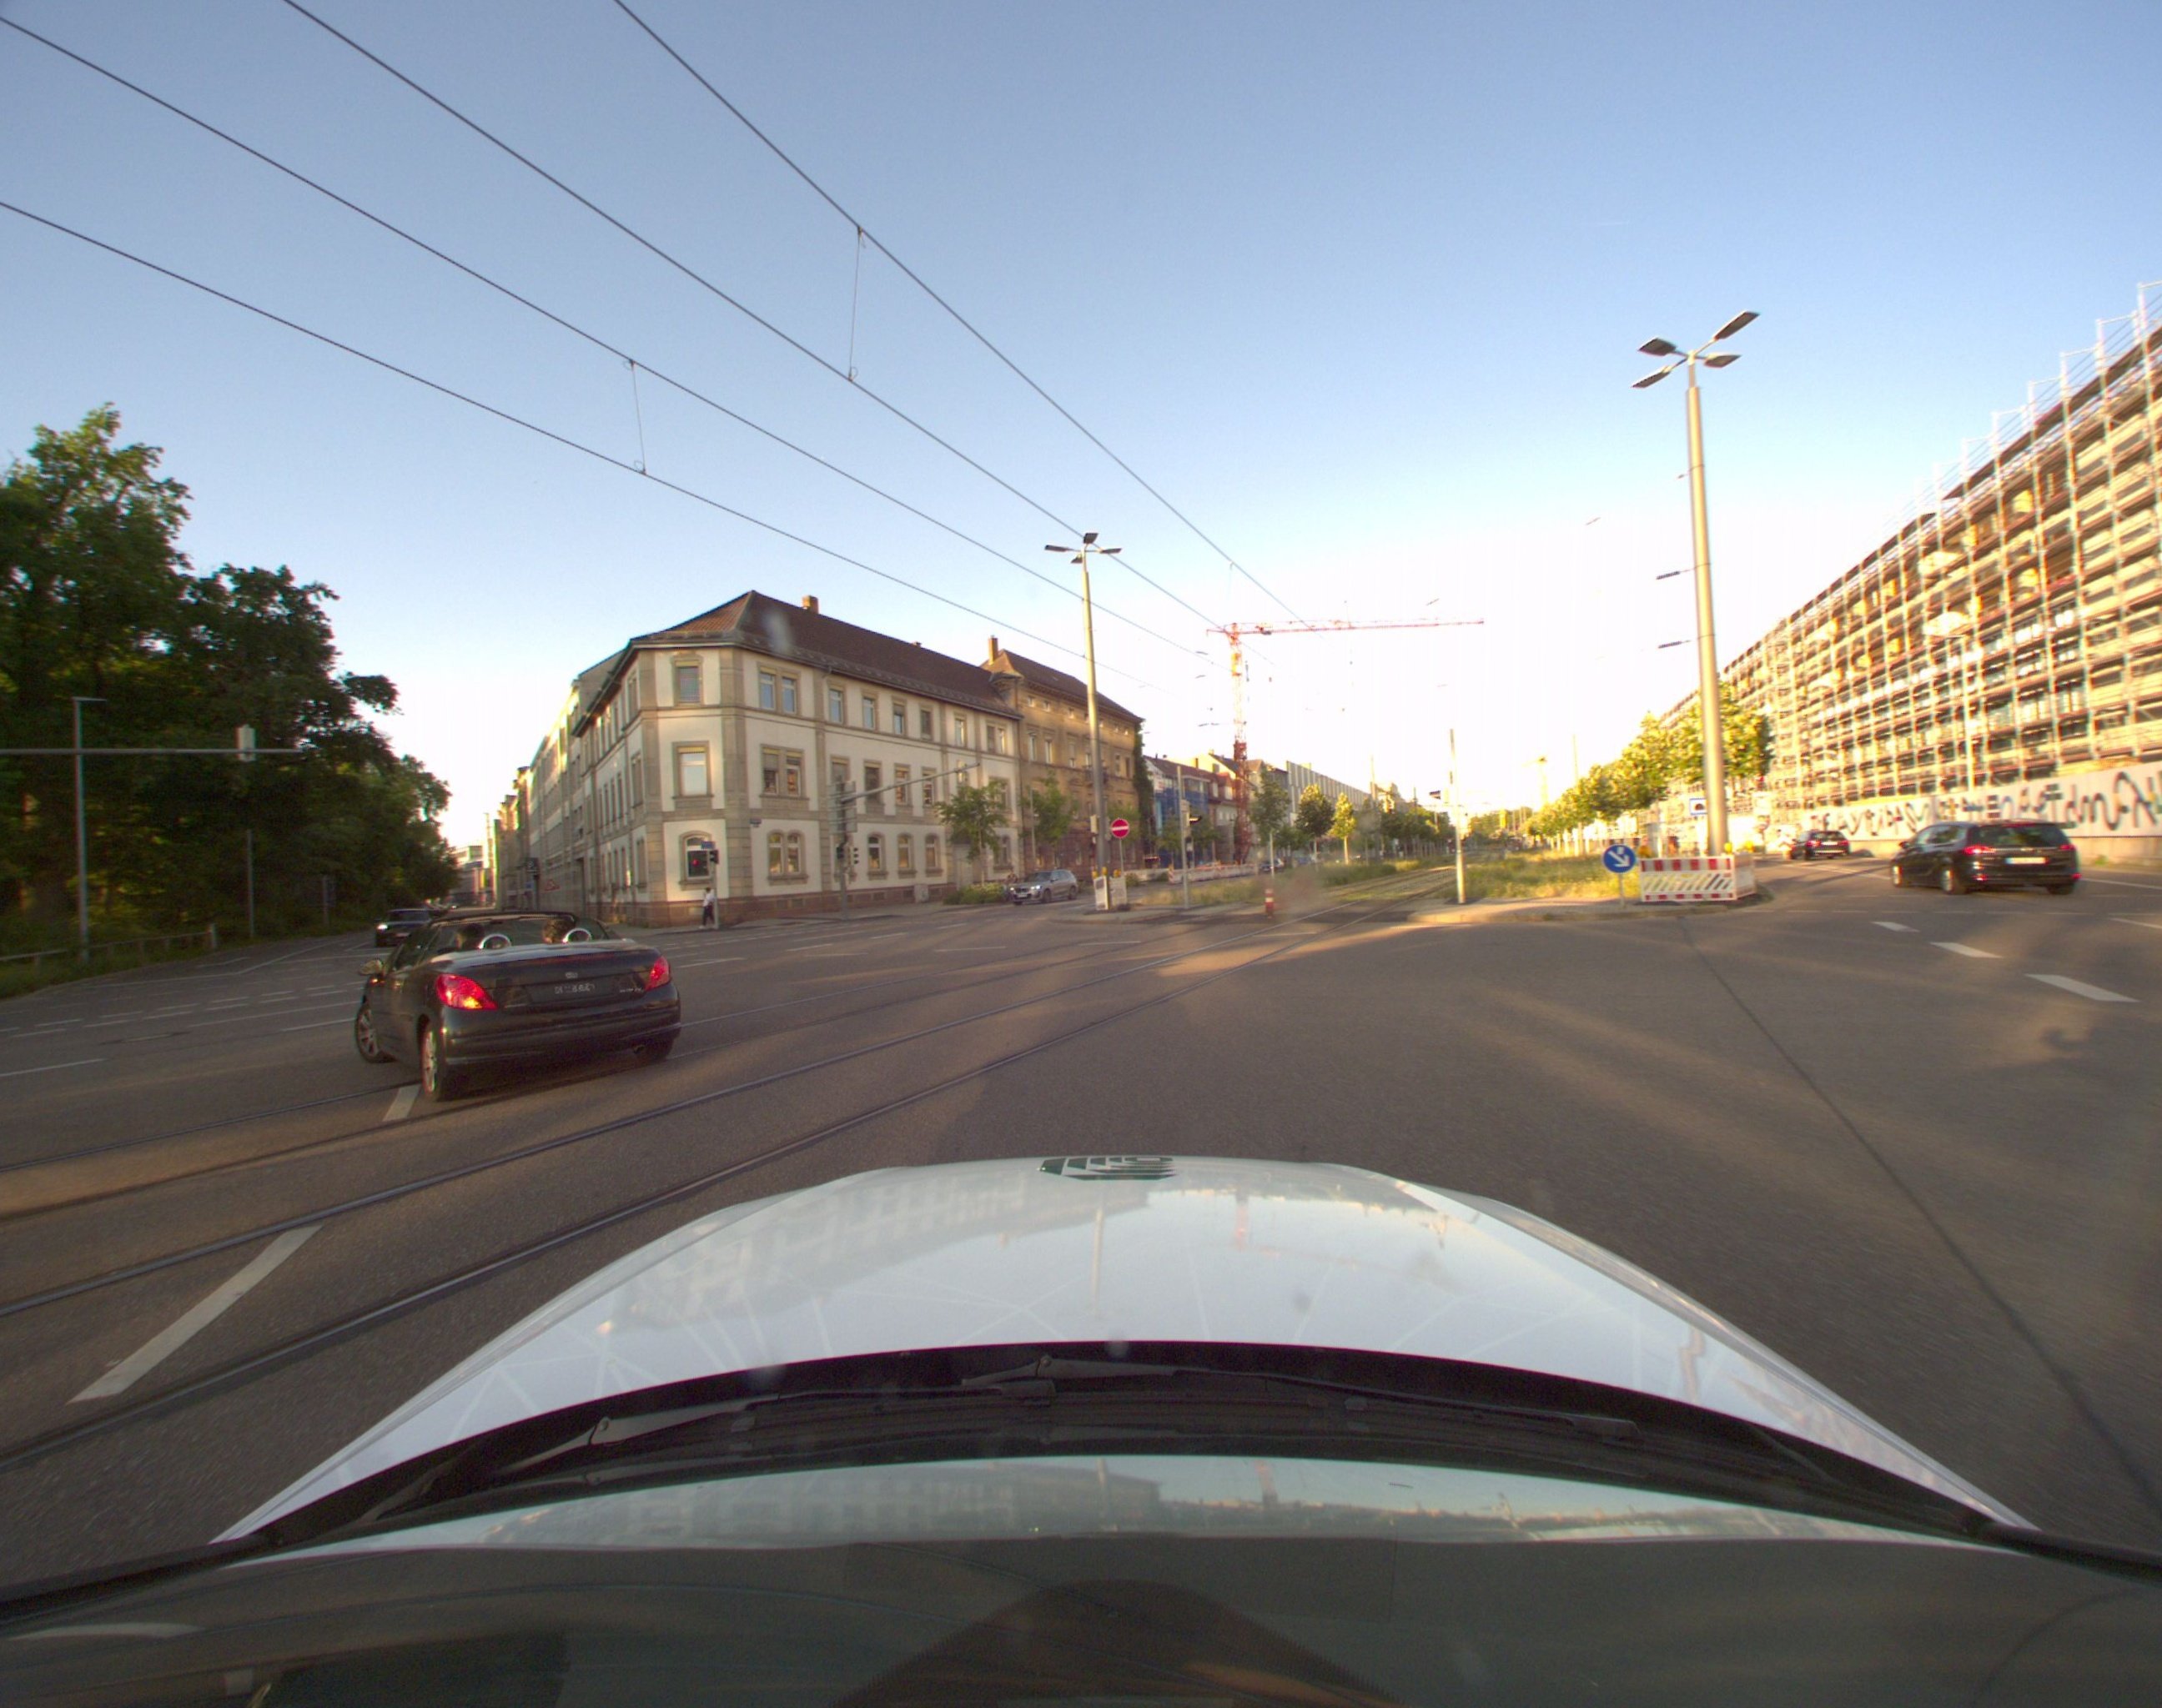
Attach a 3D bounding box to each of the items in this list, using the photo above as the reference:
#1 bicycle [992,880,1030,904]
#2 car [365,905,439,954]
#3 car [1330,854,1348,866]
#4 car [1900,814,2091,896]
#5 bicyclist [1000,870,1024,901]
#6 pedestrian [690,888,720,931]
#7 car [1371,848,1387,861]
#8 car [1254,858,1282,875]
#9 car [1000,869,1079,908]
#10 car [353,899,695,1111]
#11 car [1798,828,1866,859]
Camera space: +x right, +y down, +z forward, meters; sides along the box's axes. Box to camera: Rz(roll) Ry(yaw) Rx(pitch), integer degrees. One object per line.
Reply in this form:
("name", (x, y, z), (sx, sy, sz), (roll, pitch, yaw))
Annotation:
("bicycle", (-3.696, 2.031, 43.399), (0.840, 1.124, 2.429), (-1, 0, 27))
("car", (-27.283, 2.973, 32.831), (1.797, 1.555, 3.959), (-2, 0, -33))
("car", (35.502, 0.814, 111.994), (1.642, 1.431, 3.919), (-1, 0, 28))
("car", (20.330, -0.009, 18.346), (1.805, 1.598, 4.395), (-2, 0, 34))
("bicyclist", (-3.684, 1.700, 43.500), (0.840, 1.592, 1.005), (-1, 0, 27))
("pedestrian", (-15.227, 2.240, 32.970), (0.804, 1.715, 0.707), (-1, 0, 13))
("car", (45.602, 0.074, 124.616), (1.642, 1.964, 4.293), (-1, 0, 28))
("car", (18.086, 1.182, 78.662), (1.642, 1.431, 3.919), (-1, 0, 28))
("car", (-1.976, 1.649, 40.282), (1.975, 1.580, 4.149), (-5, -1, 28))
("car", (-5.296, 1.176, 7.527), (3.949, 1.352, 1.690), (-4, -2, 42))
("car", (39.271, -0.566, 42.700), (1.803, 1.518, 4.822), (-2, 0, 33))
